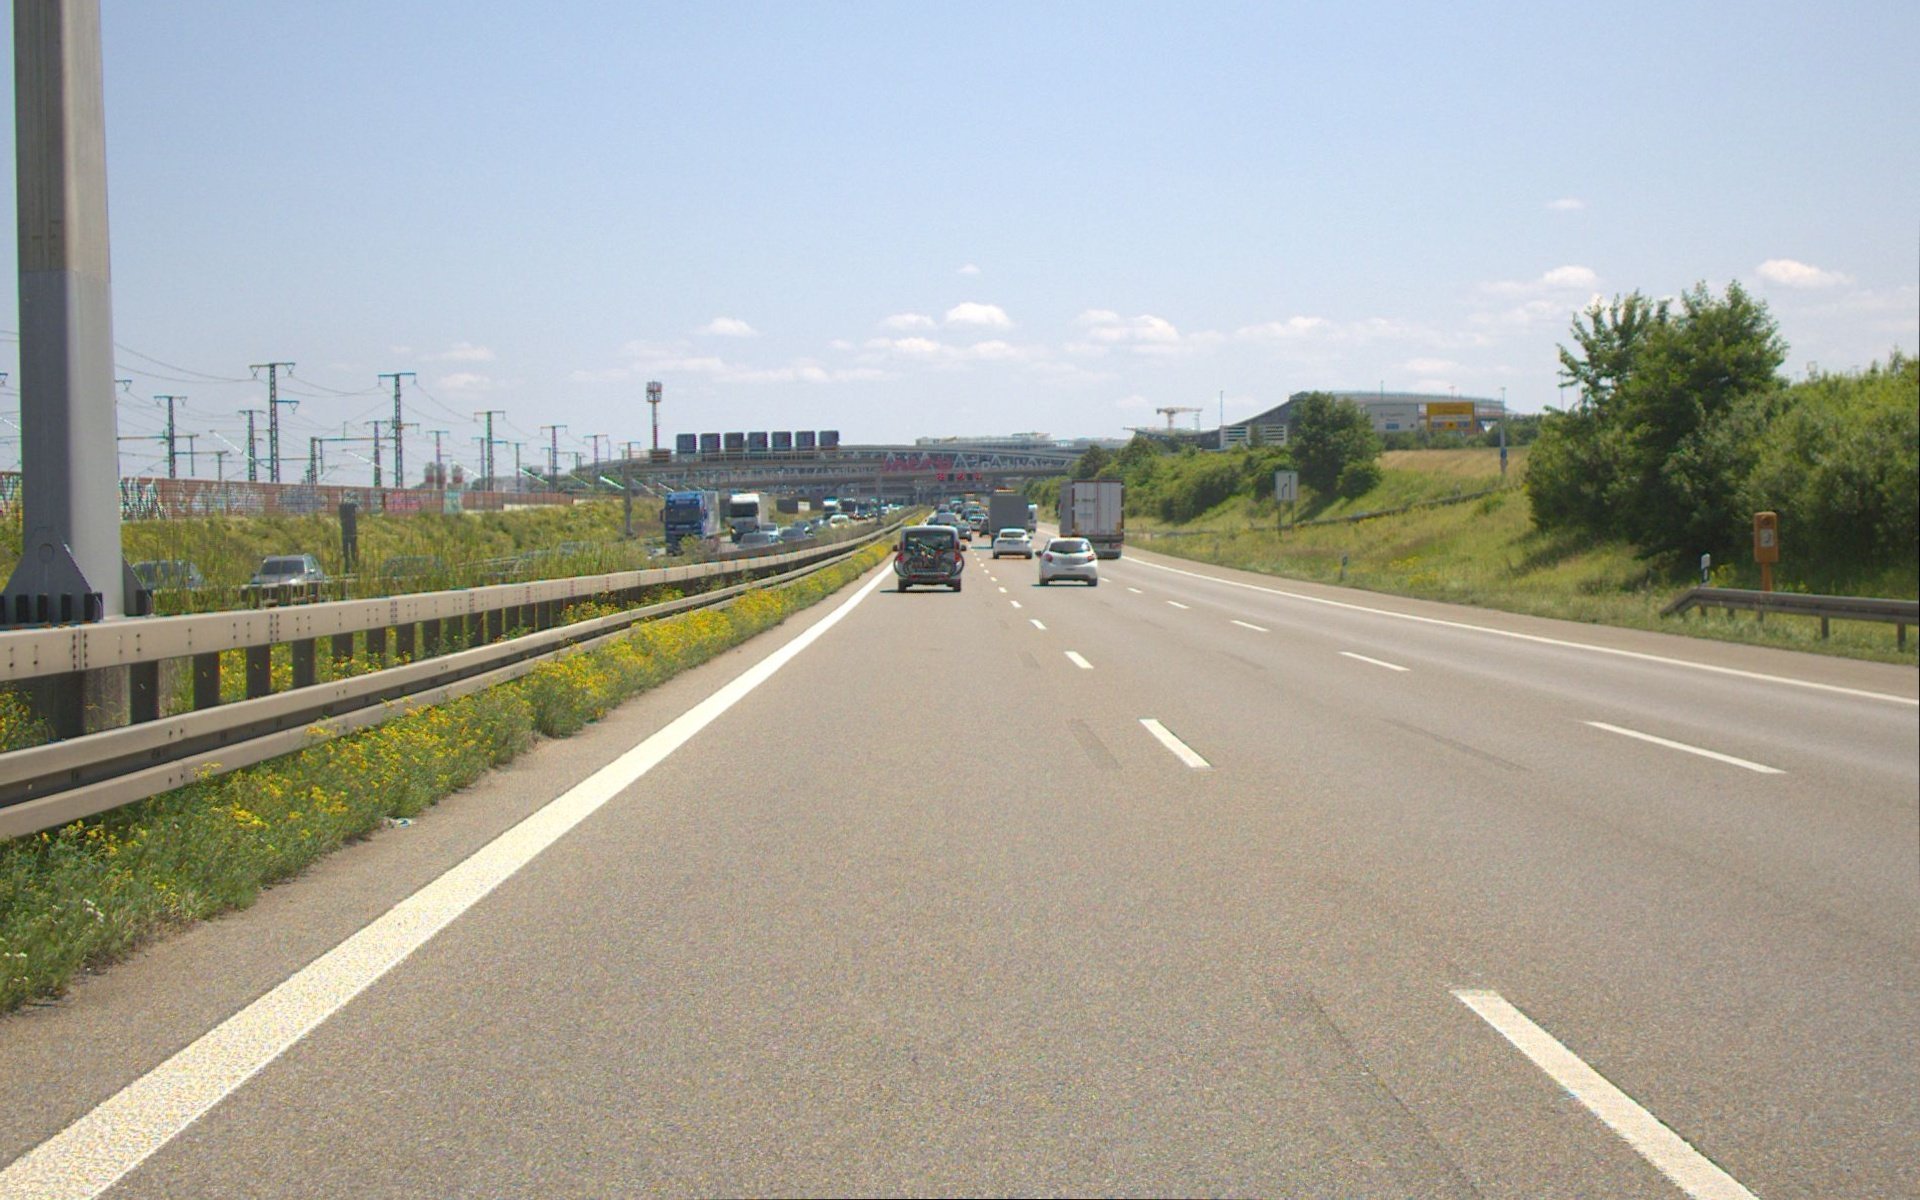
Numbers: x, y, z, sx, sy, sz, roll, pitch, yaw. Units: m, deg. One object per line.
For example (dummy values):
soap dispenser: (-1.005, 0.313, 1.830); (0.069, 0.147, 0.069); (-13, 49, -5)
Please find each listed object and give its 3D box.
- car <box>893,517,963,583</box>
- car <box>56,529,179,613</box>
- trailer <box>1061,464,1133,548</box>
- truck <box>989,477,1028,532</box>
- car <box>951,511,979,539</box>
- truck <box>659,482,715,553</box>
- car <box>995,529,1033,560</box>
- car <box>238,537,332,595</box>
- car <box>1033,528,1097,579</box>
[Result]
car: (-0.873, -1.392, 95.316); (1.881, 1.769, 4.000); (-1, 1, 0)
car: (-21.139, -0.723, 86.413); (1.993, 2.007, 4.309); (1, 0, 0)
trailer: (6.882, -4.758, 173.891); (3.177, 4.045, 9.440); (-1, 2, 0)
truck: (3.008, -5.969, 214.703); (2.355, 3.404, 6.058); (0, 2, 0)
car: (0.374, -5.399, 248.753); (1.993, 2.007, 4.000); (0, 1, -1)
truck: (-17.391, -5.282, 219.335); (2.888, 4.392, 7.503); (-1, 2, 0)
car: (2.692, -2.780, 171.192); (1.881, 1.521, 4.000); (0, 1, 1)
car: (-20.588, -1.056, 104.980); (1.993, 1.720, 4.513); (0, 1, 0)
car: (3.211, -1.436, 104.760); (1.881, 1.521, 4.000); (0, 1, 3)
